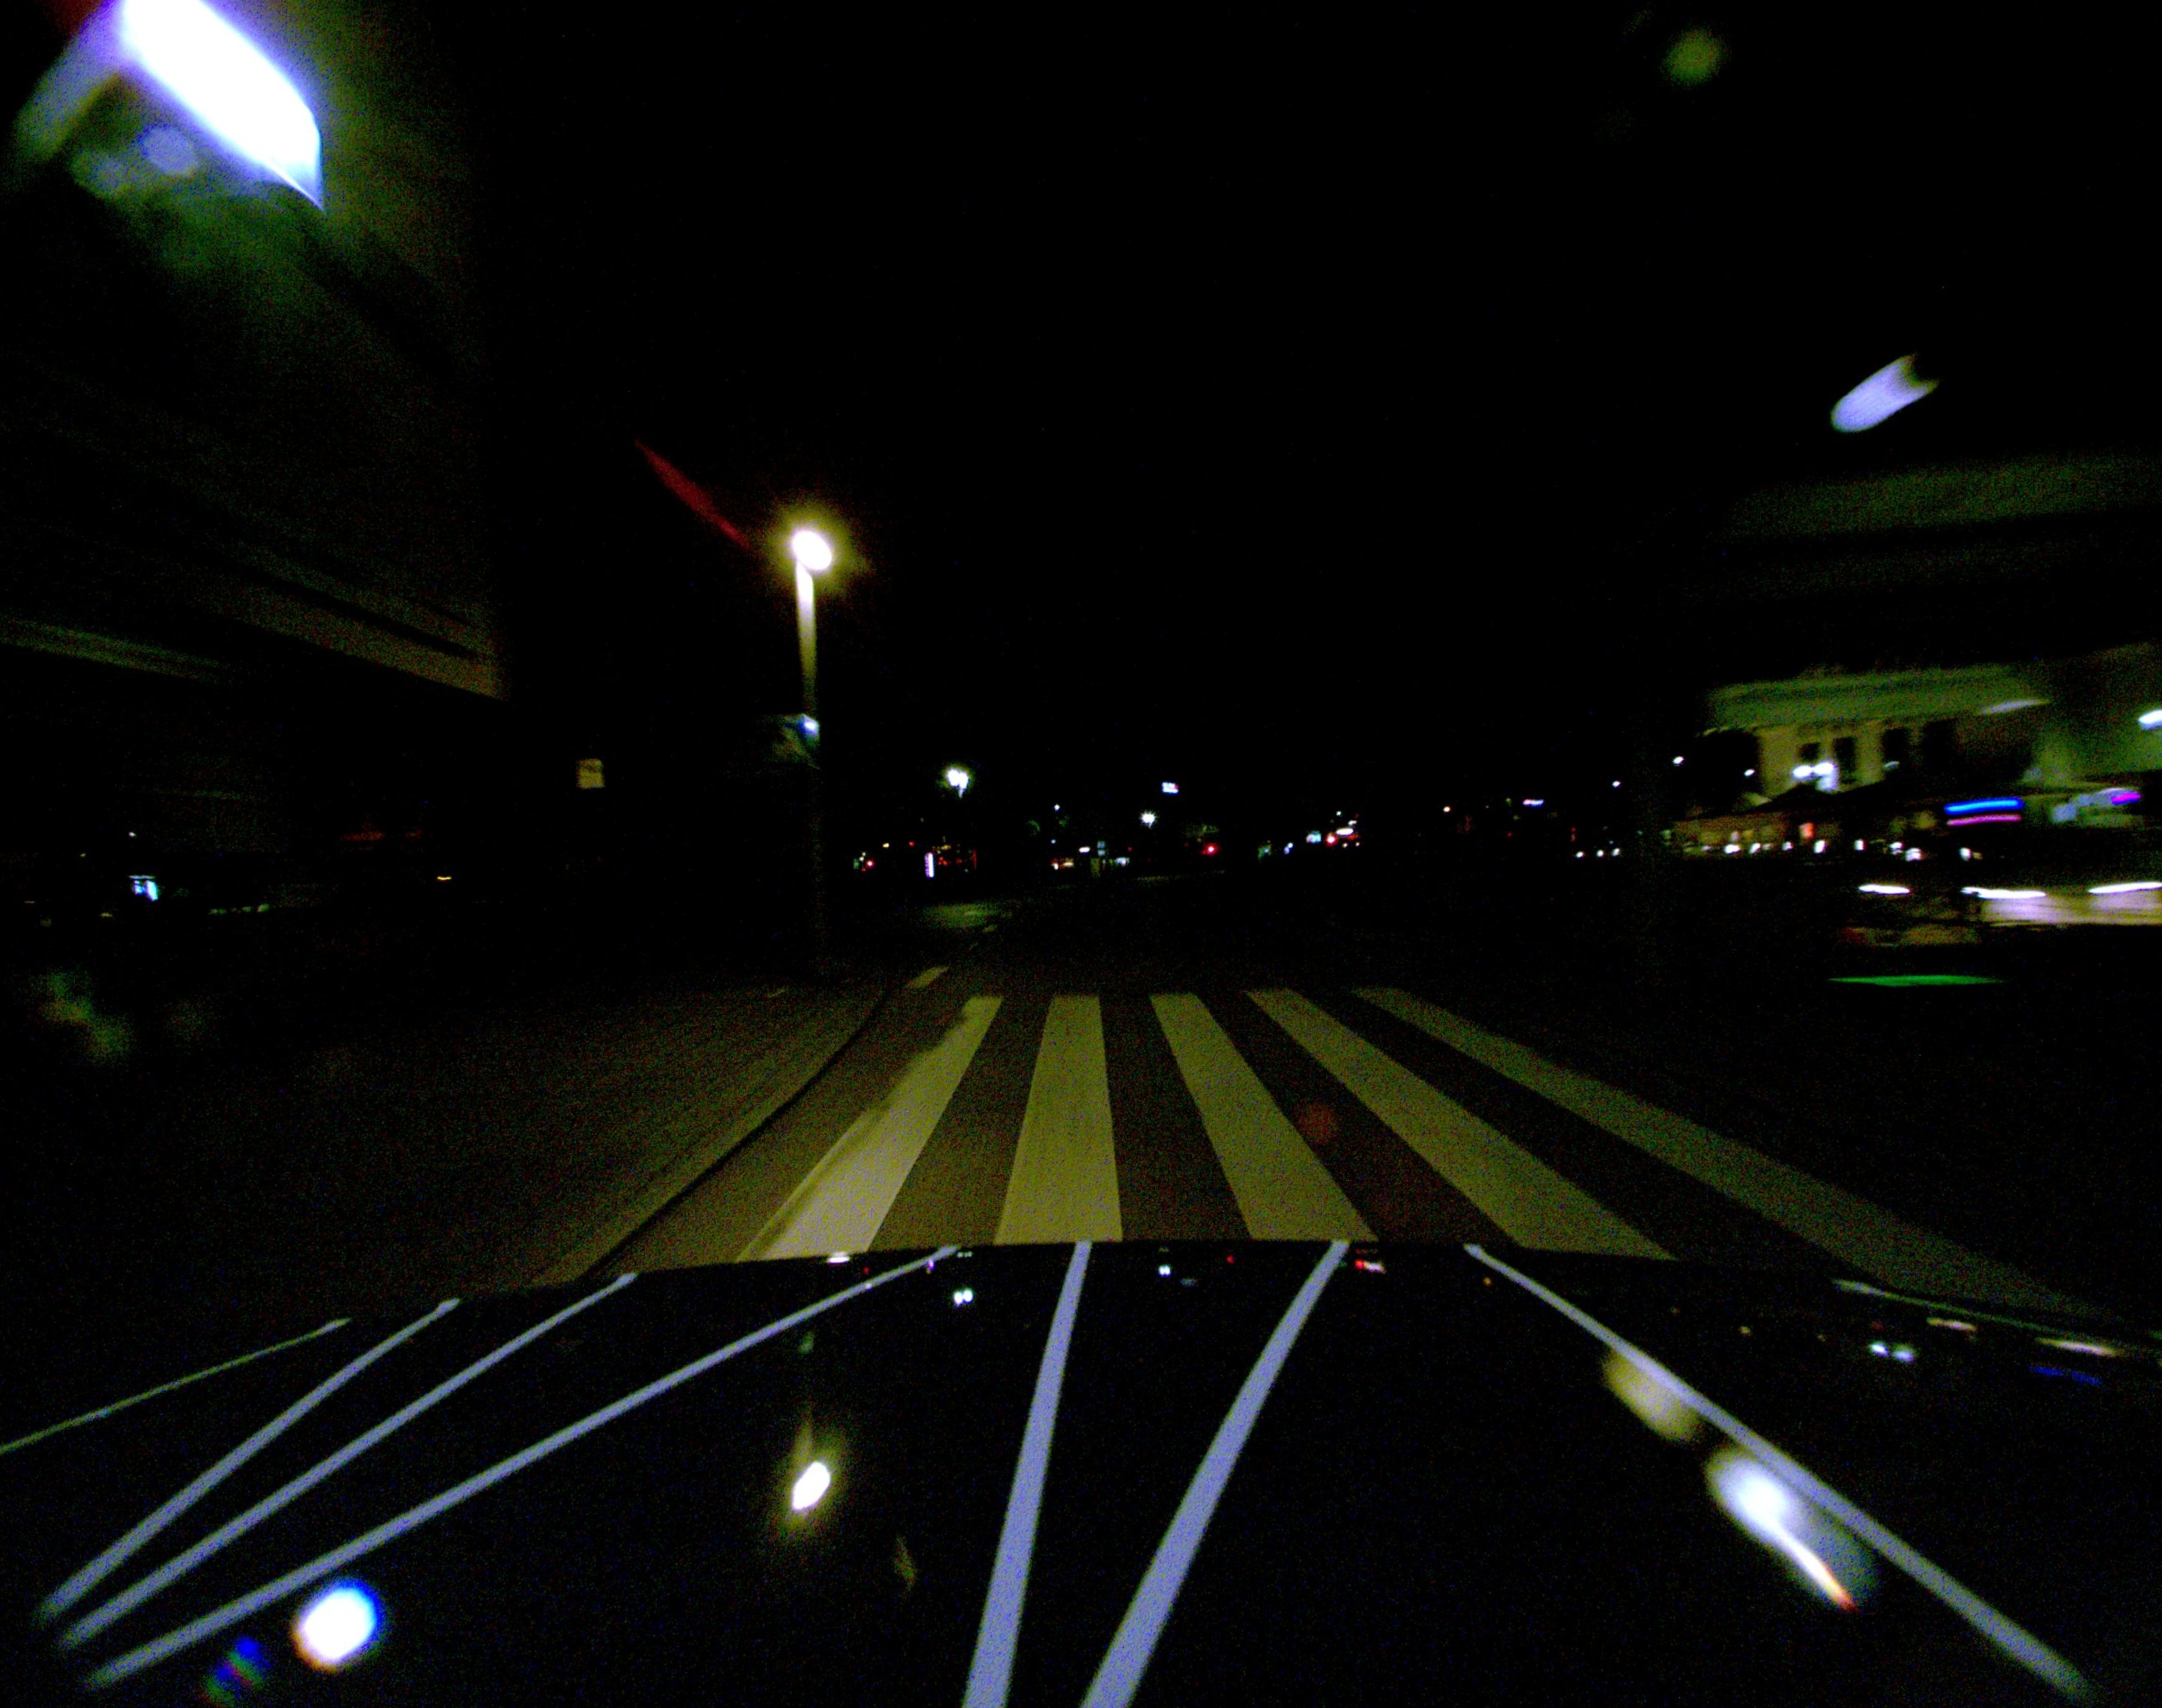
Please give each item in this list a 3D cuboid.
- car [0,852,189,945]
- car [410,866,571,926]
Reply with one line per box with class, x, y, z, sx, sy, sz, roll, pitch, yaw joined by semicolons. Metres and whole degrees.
car;-31.283;1.334;23.246;2.000;2.574;5.501;-3;-1;-9
car;-18.851;1.283;24.550;1.999;1.683;4.212;-3;-1;-3
